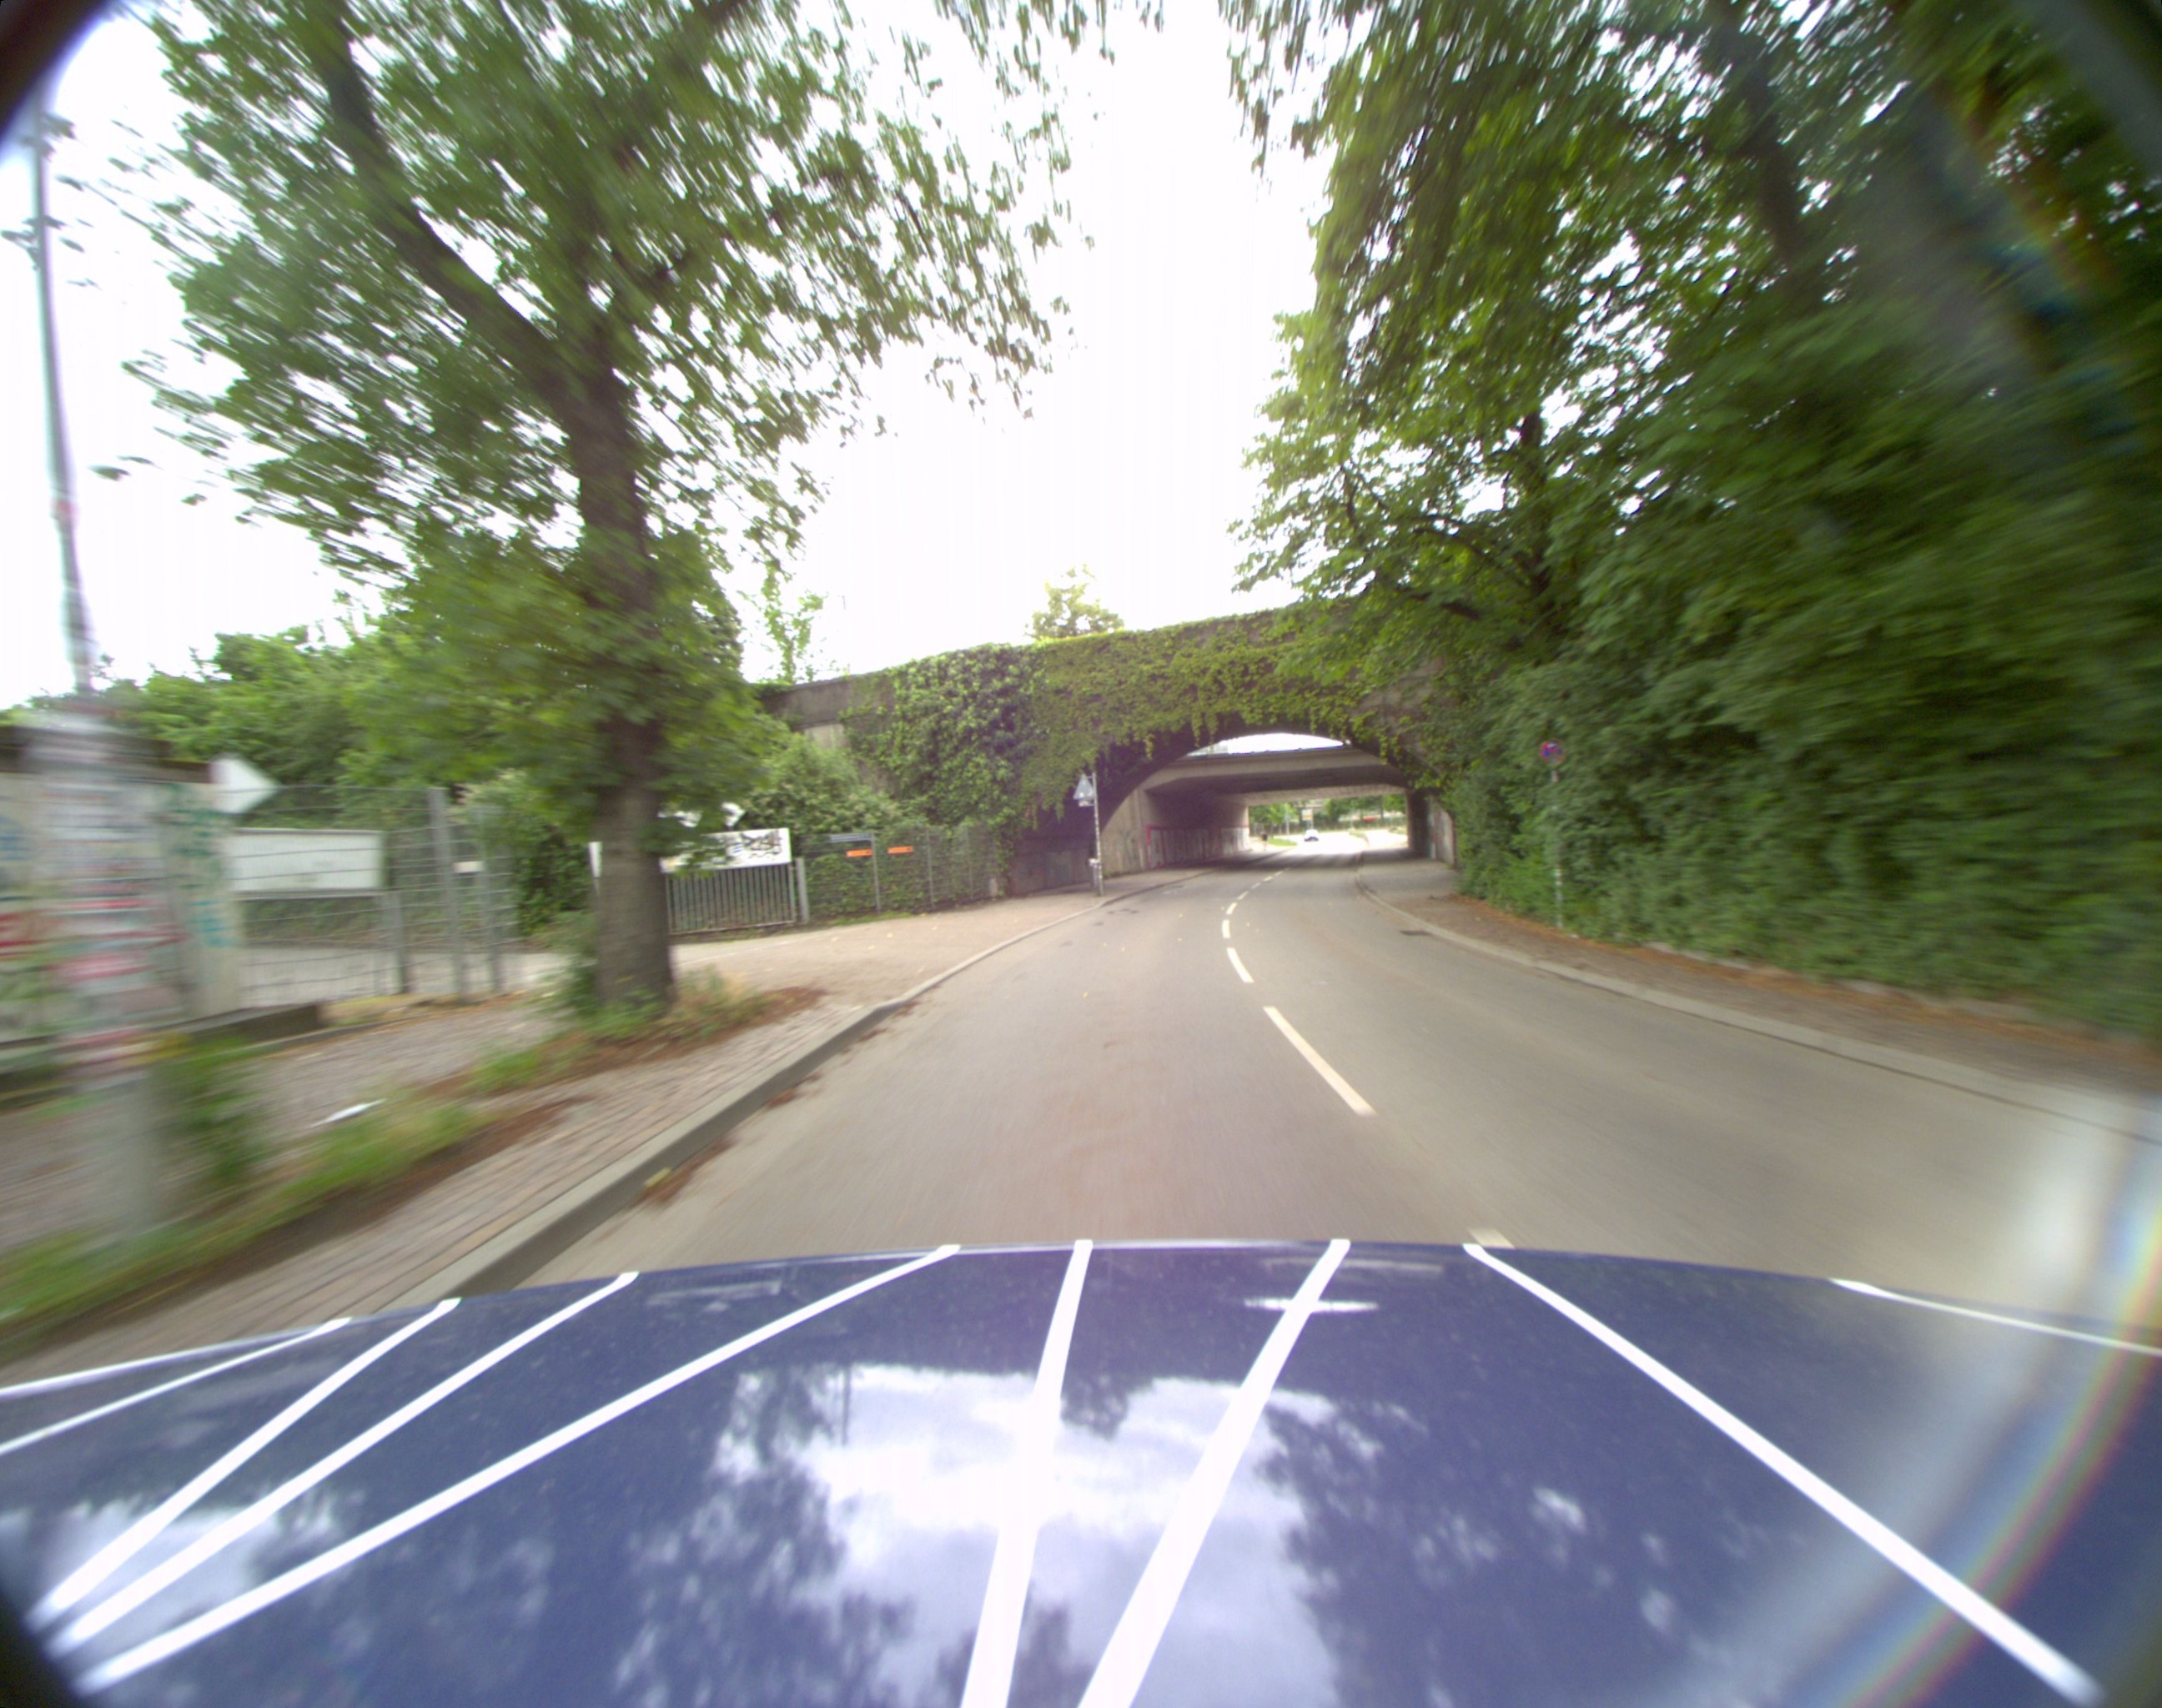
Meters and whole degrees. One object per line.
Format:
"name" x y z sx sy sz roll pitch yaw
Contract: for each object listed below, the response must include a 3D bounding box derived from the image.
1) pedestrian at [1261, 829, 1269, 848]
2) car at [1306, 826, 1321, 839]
"pedestrian" 18.249 -1.534 75.346 0.820 1.869 1.181 0 3 14
"car" 31.319 -2.919 102.348 1.805 1.602 4.178 -1 4 17
